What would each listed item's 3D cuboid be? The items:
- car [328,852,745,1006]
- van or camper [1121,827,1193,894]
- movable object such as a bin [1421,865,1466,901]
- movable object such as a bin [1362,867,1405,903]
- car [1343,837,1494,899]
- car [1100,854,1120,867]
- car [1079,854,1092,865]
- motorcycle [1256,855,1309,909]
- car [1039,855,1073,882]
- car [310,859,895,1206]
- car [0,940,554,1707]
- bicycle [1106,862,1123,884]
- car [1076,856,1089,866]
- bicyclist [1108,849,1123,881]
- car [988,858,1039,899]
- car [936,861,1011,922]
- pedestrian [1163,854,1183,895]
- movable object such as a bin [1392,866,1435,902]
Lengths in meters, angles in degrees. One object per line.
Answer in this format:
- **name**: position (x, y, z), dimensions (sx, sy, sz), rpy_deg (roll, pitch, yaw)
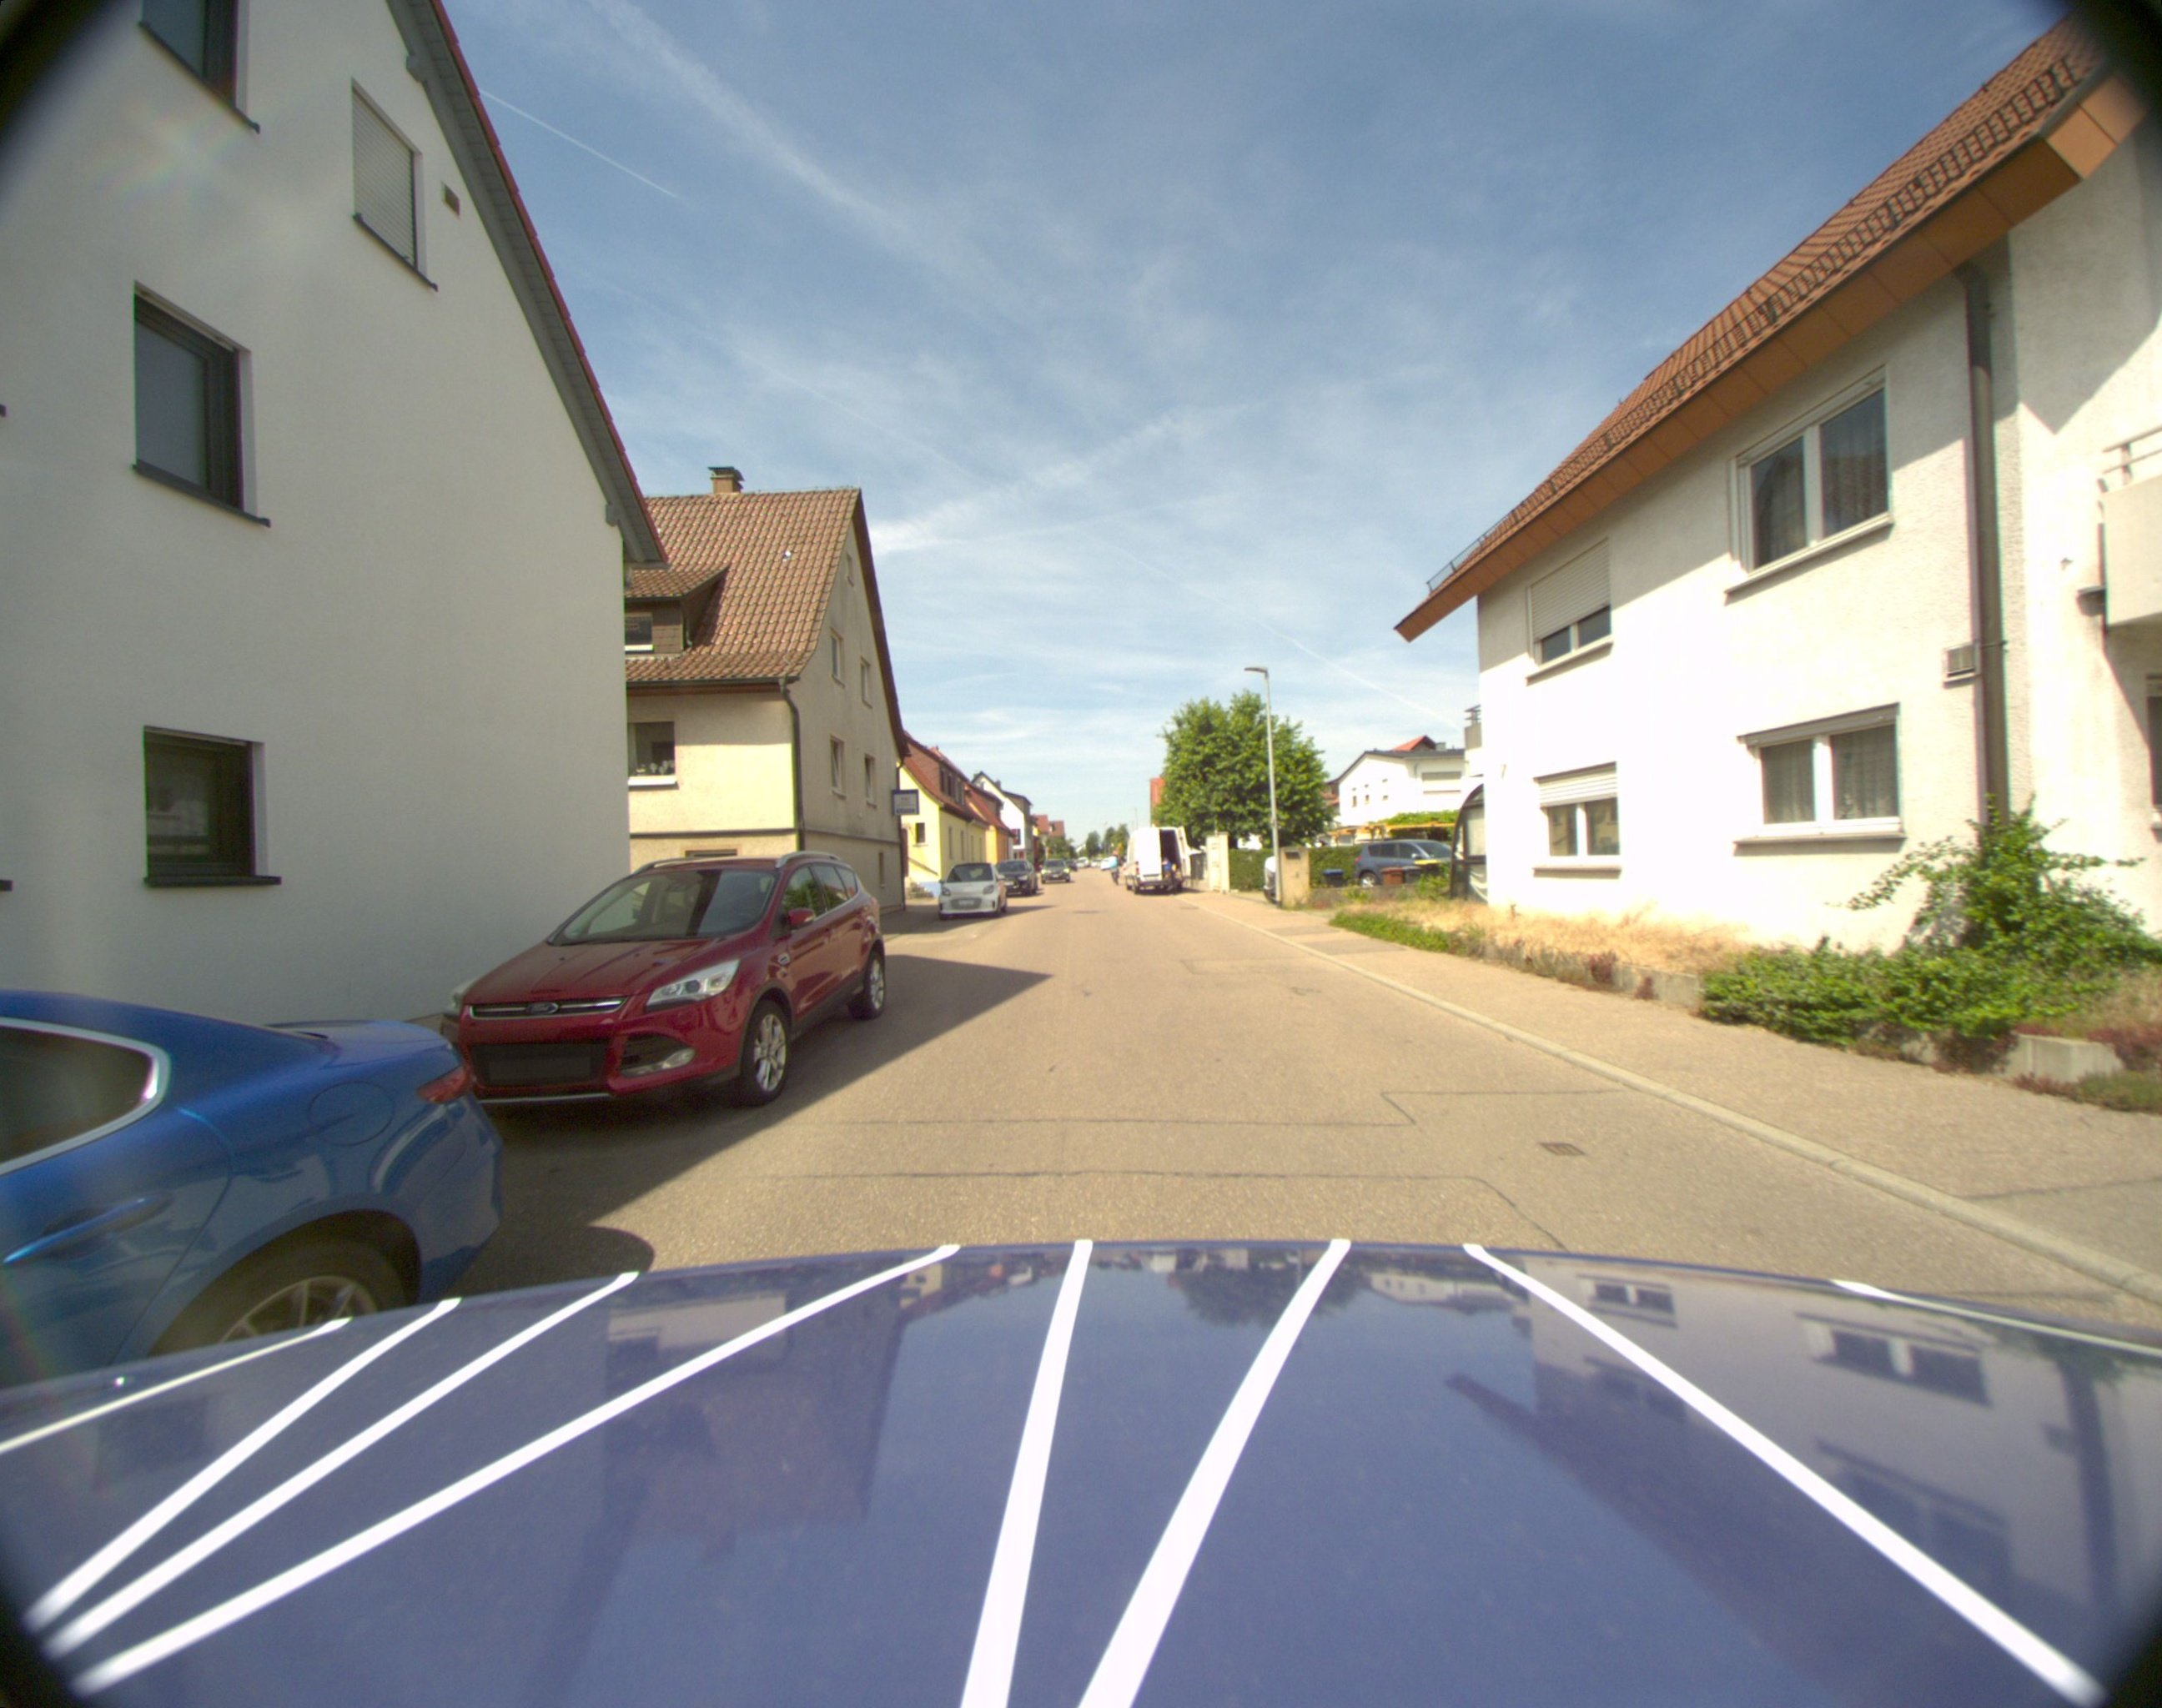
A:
- **car**: position (-7.672, 0.994, 11.133), dimensions (4.528, 1.832, 1.999), rpy_deg (-3, 0, -3)
- **van or camper**: position (3.159, 0.267, 33.221), dimensions (2.190, 2.556, 6.806), rpy_deg (-3, 0, -1)
- **movable object such as a bin**: position (9.696, 0.761, 20.348), dimensions (0.802, 0.900, 0.773), rpy_deg (-2, 0, -1)
- **movable object such as a bin**: position (8.064, 0.819, 20.292), dimensions (0.802, 0.900, 0.773), rpy_deg (-2, 0, -1)
- **car**: position (10.044, 0.393, 22.955), dimensions (1.776, 1.668, 3.931), rpy_deg (-2, 0, -25)
- **car**: position (3.343, 0.785, 87.802), dimensions (1.927, 1.390, 4.496), rpy_deg (-2, 0, 6)
- **car**: position (0.786, 0.887, 127.524), dimensions (1.740, 1.652, 4.338), rpy_deg (-4, 0, 3)
- **motorcycle**: position (5.603, 0.743, 21.285), dimensions (0.785, 1.385, 2.352), rpy_deg (-2, 0, -1)
- **car**: position (-1.591, 0.910, 49.921), dimensions (1.838, 1.637, 4.324), rpy_deg (-3, 0, 2)
- **car**: position (-2.998, 0.949, 6.040), dimensions (1.880, 1.690, 4.183), rpy_deg (-3, 0, 1)
- **car**: position (-2.881, 1.061, 0.468), dimensions (1.767, 1.415, 4.592), rpy_deg (-3, 0, 1)
- **bicycle**: position (1.908, 1.054, 43.038), dimensions (0.671, 1.126, 2.191), rpy_deg (-2, 0, 10)
- **car**: position (0.309, 1.042, 120.372), dimensions (1.755, 1.412, 4.422), rpy_deg (-3, 0, 3)
- **bicyclist**: position (1.949, 0.634, 43.044), dimensions (0.714, 1.788, 0.942), rpy_deg (-2, 1, 9)
- **car**: position (-2.897, 1.008, 33.376), dimensions (1.733, 1.590, 4.253), rpy_deg (-3, 0, 1)
- **car**: position (-3.030, 1.028, 21.955), dimensions (1.678, 1.550, 3.040), rpy_deg (-3, 0, -1)
- **pedestrian**: position (3.558, 0.794, 29.411), dimensions (0.574, 1.509, 0.726), rpy_deg (-5, 1, -2)
- **movable object such as a bin**: position (8.876, 0.793, 20.315), dimensions (0.802, 0.900, 0.773), rpy_deg (-2, 0, -1)
